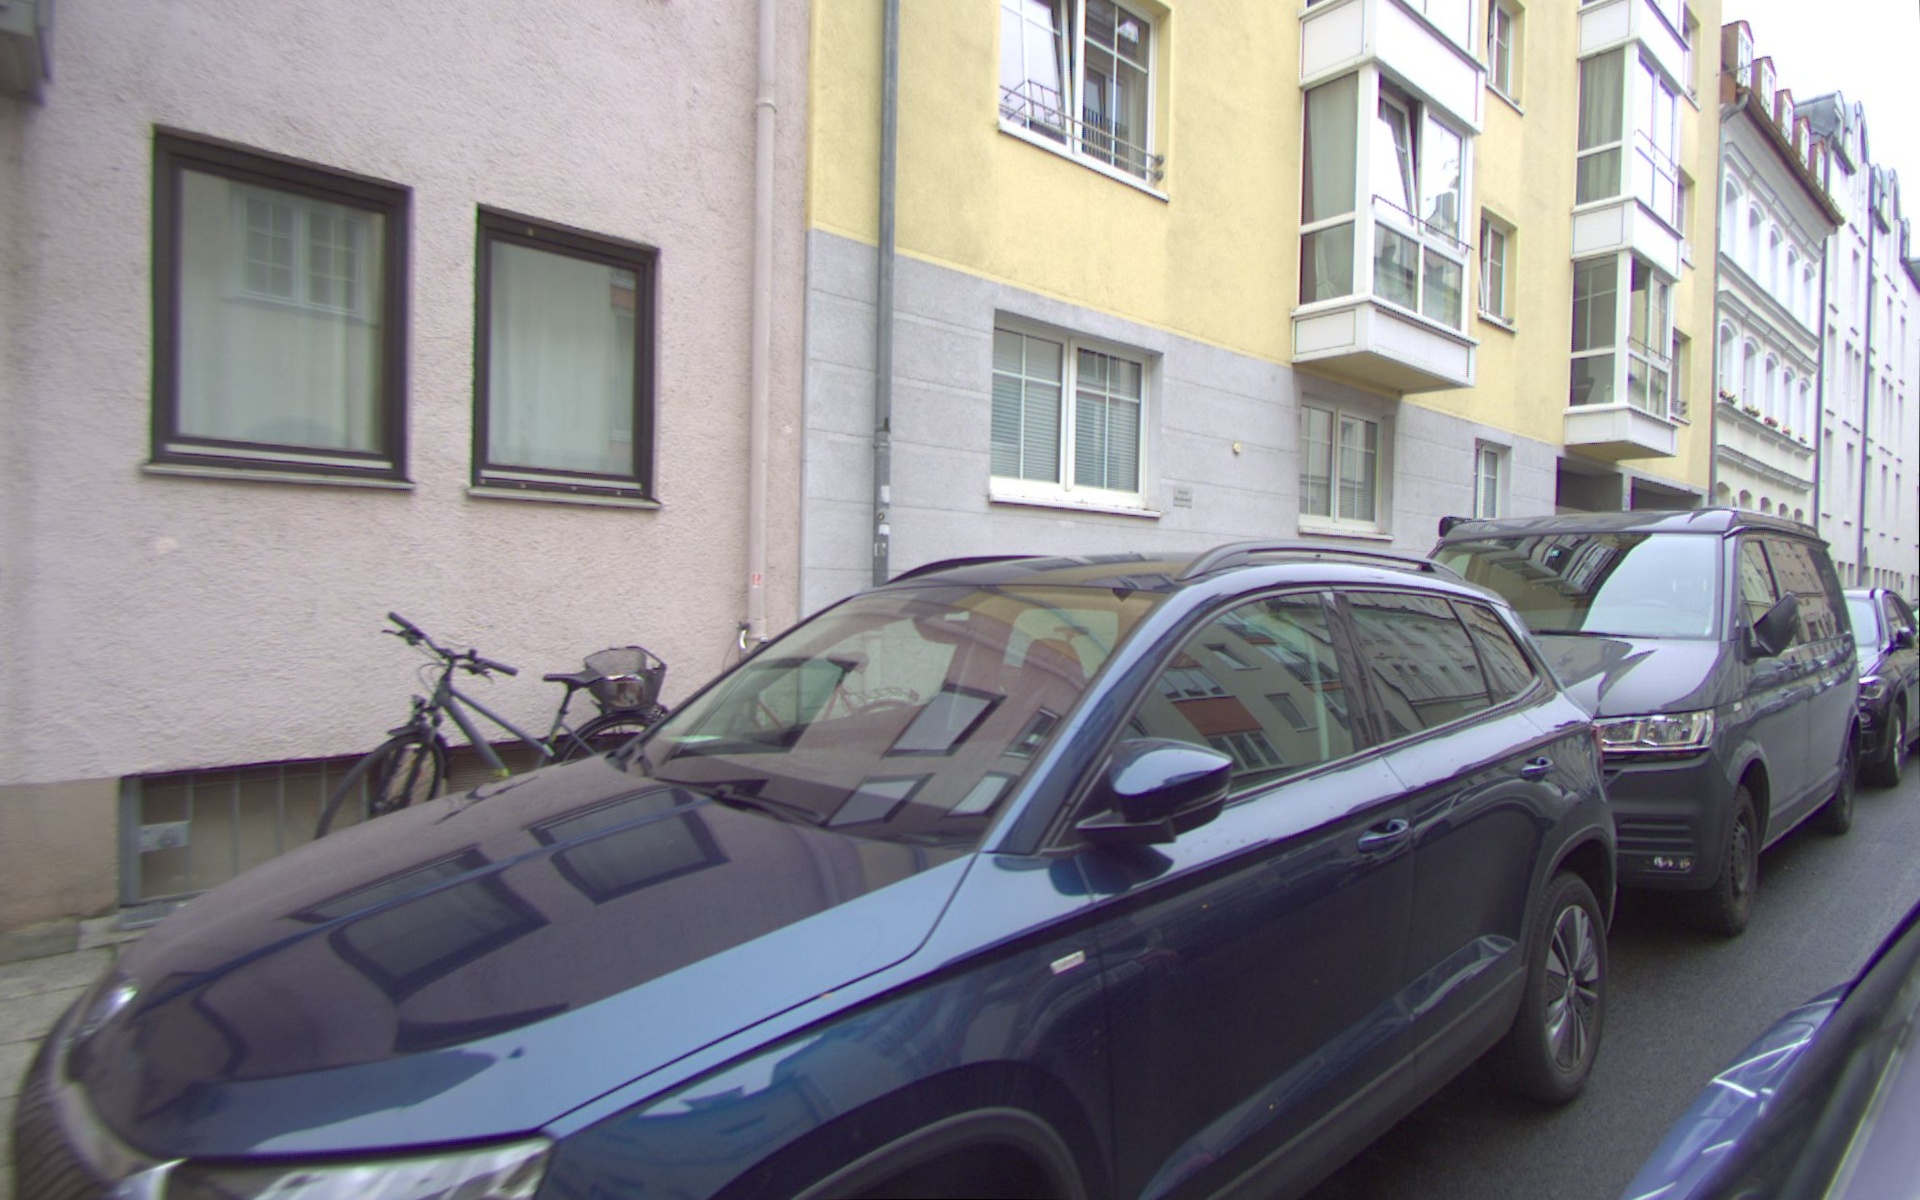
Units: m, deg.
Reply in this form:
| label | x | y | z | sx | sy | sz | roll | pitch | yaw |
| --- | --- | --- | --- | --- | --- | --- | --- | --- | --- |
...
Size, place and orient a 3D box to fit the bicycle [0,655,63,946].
| label | x | y | z | sx | sy | sz | roll | pitch | yaw |
| --- | --- | --- | --- | --- | --- | --- | --- | --- | --- |
| bicycle | -3.728 | 0.688 | 3.250 | 1.247 | 0.959 | 0.358 | 0 | 1 | -40 |

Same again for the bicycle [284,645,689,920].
| label | x | y | z | sx | sy | sz | roll | pitch | yaw |
| --- | --- | --- | --- | --- | --- | --- | --- | --- | --- |
| bicycle | -2.019 | 0.713 | 4.453 | 1.548 | 0.959 | 0.442 | 0 | 1 | -40 |

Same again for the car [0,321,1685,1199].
| label | x | y | z | sx | sy | sz | roll | pitch | yaw |
| --- | --- | --- | --- | --- | --- | --- | --- | --- | --- |
| car | 0.326 | 0.608 | 2.784 | 4.249 | 1.642 | 1.835 | -1 | 1 | -42 |

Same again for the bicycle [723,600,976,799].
| label | x | y | z | sx | sy | sz | roll | pitch | yaw |
| --- | --- | --- | --- | --- | --- | --- | --- | --- | --- |
| bicycle | -0.588 | 0.502 | 5.715 | 1.420 | 0.988 | 0.422 | 0 | 1 | -40 |

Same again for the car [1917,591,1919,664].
| label | x | y | z | sx | sy | sz | roll | pitch | yaw |
| --- | --- | --- | --- | --- | --- | --- | --- | --- | --- |
| car | 21.080 | 0.554 | 20.802 | 3.622 | 1.459 | 1.737 | 0 | 0 | -41 |

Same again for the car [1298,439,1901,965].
| label | x | y | z | sx | sy | sz | roll | pitch | yaw |
| --- | --- | --- | --- | --- | --- | --- | --- | --- | --- |
| car | 4.275 | 0.346 | 6.306 | 5.019 | 2.039 | 1.876 | -1 | 1 | -42 |

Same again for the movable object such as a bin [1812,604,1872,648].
| label | x | y | z | sx | sy | sz | roll | pitch | yaw |
| --- | --- | --- | --- | --- | --- | --- | --- | --- | --- |
| movable object such as a bin | 20.501 | 0.616 | 23.515 | 1.620 | 0.945 | 0.739 | 3 | -7 | -40 |

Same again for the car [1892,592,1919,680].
| label | x | y | z | sx | sy | sz | roll | pitch | yaw |
| --- | --- | --- | --- | --- | --- | --- | --- | --- | --- |
| car | 17.721 | 0.585 | 17.889 | 1.745 | 1.459 | 4.161 | 0 | 0 | 44 |

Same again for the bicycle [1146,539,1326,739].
| label | x | y | z | sx | sy | sz | roll | pitch | yaw |
| --- | --- | --- | --- | --- | --- | --- | --- | --- | --- |
| bicycle | 2.309 | 0.325 | 8.331 | 1.834 | 1.490 | 0.433 | 3 | -2 | -40 |

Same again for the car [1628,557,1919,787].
| label | x | y | z | sx | sy | sz | roll | pitch | yaw |
| --- | --- | --- | --- | --- | --- | --- | --- | --- | --- |
| car | 8.051 | 0.512 | 9.570 | 4.154 | 1.707 | 1.836 | 0 | 1 | -41 |
